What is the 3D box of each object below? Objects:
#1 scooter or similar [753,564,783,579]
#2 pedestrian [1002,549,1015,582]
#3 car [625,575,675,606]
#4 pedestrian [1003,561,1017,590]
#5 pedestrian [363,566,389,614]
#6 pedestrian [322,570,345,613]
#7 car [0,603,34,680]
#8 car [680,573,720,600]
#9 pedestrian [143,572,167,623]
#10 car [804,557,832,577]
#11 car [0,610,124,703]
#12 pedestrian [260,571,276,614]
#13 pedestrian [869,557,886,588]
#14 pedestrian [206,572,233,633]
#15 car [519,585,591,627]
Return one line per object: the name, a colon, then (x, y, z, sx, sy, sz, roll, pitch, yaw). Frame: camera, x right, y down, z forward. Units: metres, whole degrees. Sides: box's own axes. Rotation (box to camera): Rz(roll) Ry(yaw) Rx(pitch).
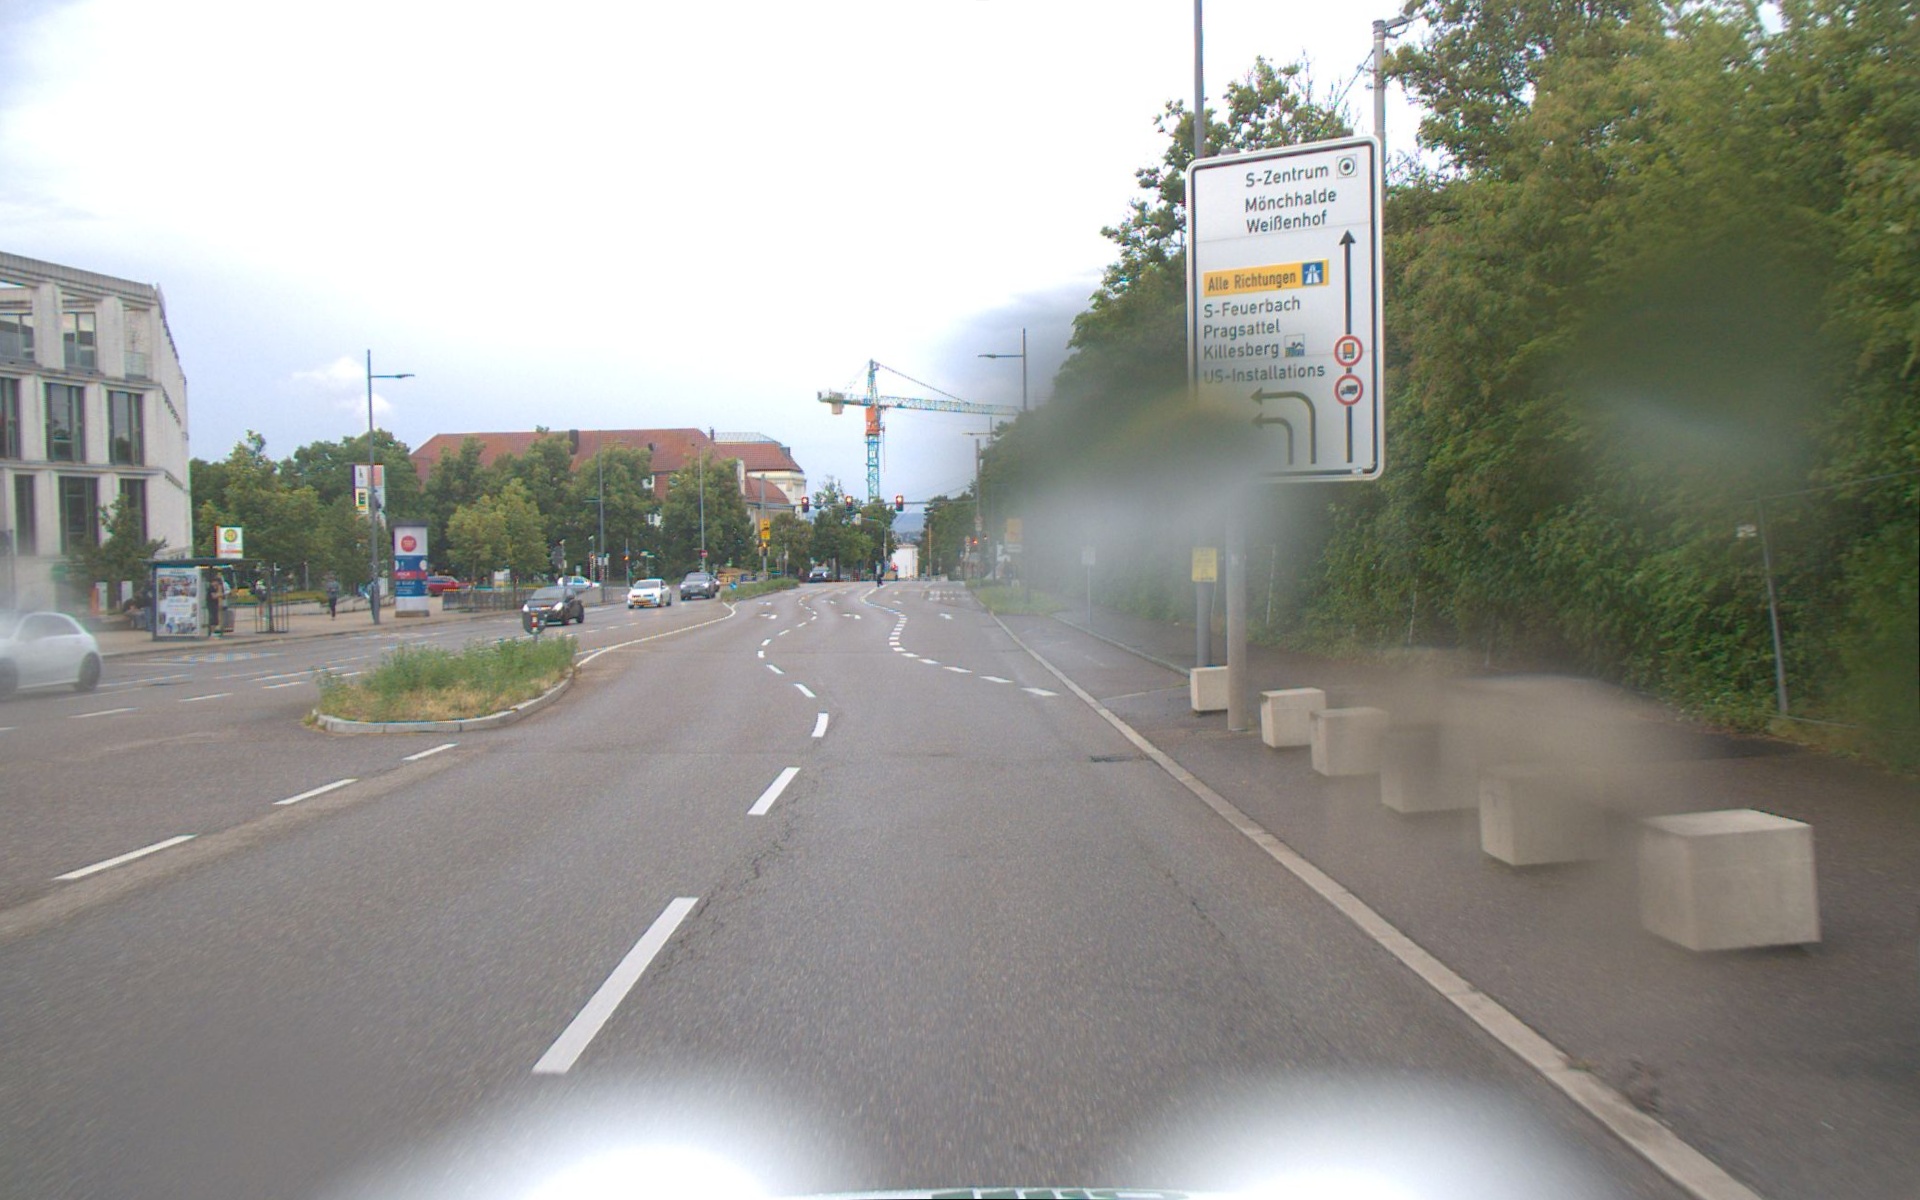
scooter or similar: (-19.924, -2.965, 171.598, 3.026, 1.465, 0.948, -1, 1, -3)
pedestrian: (2.896, -2.075, 99.295, 0.628, 1.934, 0.717, -1, 1, -6)
car: (-16.242, -0.489, 86.778, 1.835, 1.454, 4.175, -3, 0, -1)
pedestrian: (2.859, -1.412, 94.886, 0.662, 1.686, 0.792, -1, 1, -6)
pedestrian: (-22.700, -0.391, 64.282, 0.737, 1.874, 0.746, -1, 0, 1)
pedestrian: (-25.861, -0.355, 68.265, 0.586, 1.793, 0.857, -1, 0, 1)
car: (-19.934, 0.827, 32.696, 1.581, 1.534, 2.972, 1, 0, -1)
car: (-16.465, -0.854, 104.772, 1.795, 1.599, 4.593, -3, 0, -1)
pedestrian: (-27.764, -0.081, 57.035, 0.514, 1.755, 0.566, -1, 0, 1)
car: (-13.984, -3.237, 163.245, 1.951, 1.870, 4.002, 1, -1, 6)
car: (-16.245, 0.909, 27.984, 1.953, 1.443, 4.512, 0, 0, -1)
pedestrian: (-27.676, -0.308, 66.154, 0.489, 1.719, 0.911, -1, 0, -17)
pedestrian: (-5.585, -1.864, 111.906, 0.920, 2.048, 0.847, -3, 1, 5)
pedestrian: (-22.823, 0.077, 51.003, 0.497, 1.874, 0.755, -1, 0, -2)
car: (-15.503, 0.220, 63.523, 1.809, 1.488, 3.866, -2, 0, -1)
